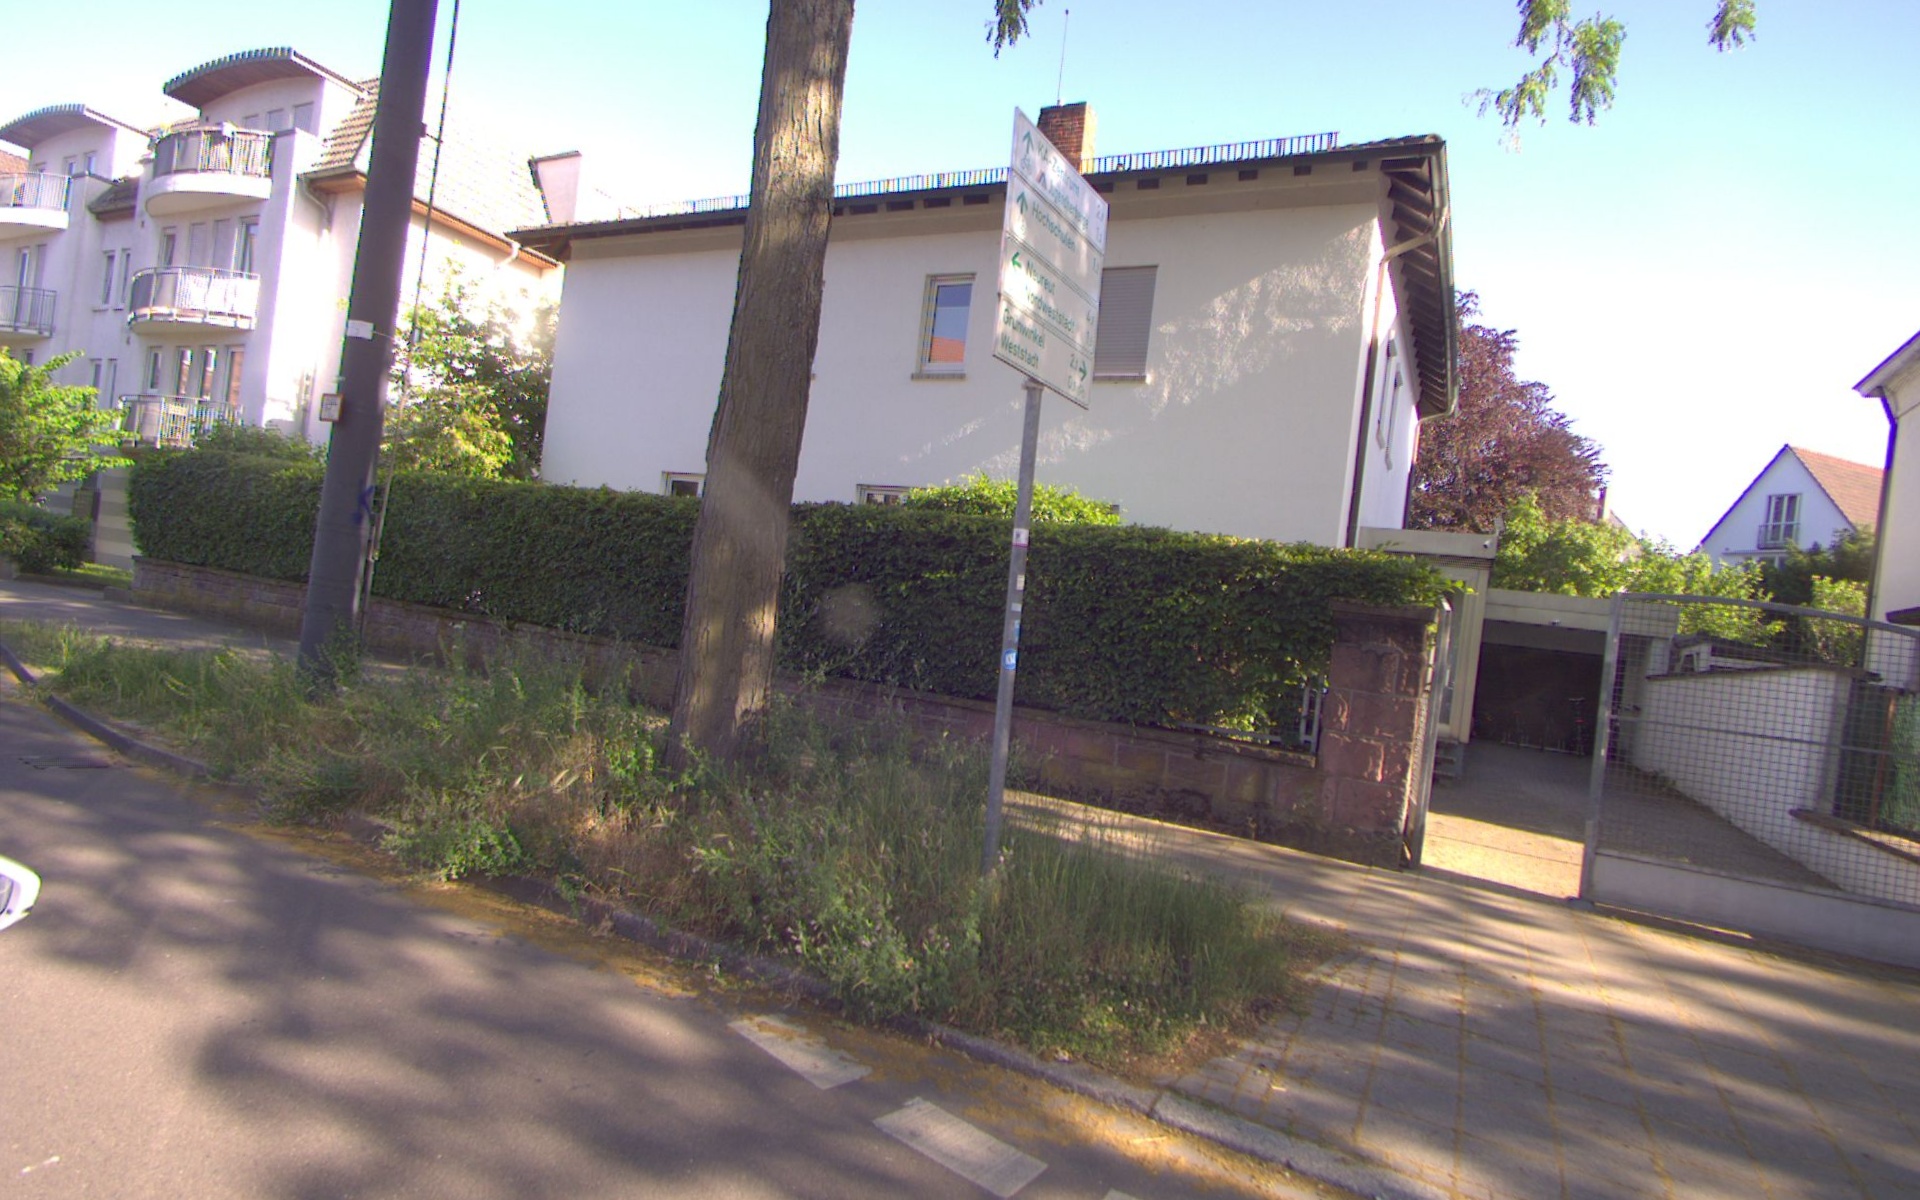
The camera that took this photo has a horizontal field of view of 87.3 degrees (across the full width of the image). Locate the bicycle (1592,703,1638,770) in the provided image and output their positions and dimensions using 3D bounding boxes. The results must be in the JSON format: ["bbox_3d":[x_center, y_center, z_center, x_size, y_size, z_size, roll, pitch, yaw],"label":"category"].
[{"bbox_3d":[12.356,2.556,19.008,0.512,1.135,1.465,7,-2,29],"label":"bicycle"}]

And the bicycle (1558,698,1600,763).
[{"bbox_3d":[11.903,2.488,19.369,0.512,1.135,1.465,7,-2,29],"label":"bicycle"}]

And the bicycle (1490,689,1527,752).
[{"bbox_3d":[10.904,2.380,20.011,0.512,1.135,1.465,7,-2,29],"label":"bicycle"}]

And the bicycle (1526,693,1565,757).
[{"bbox_3d":[11.421,2.435,19.657,0.512,1.135,1.465,7,-2,29],"label":"bicycle"}]
